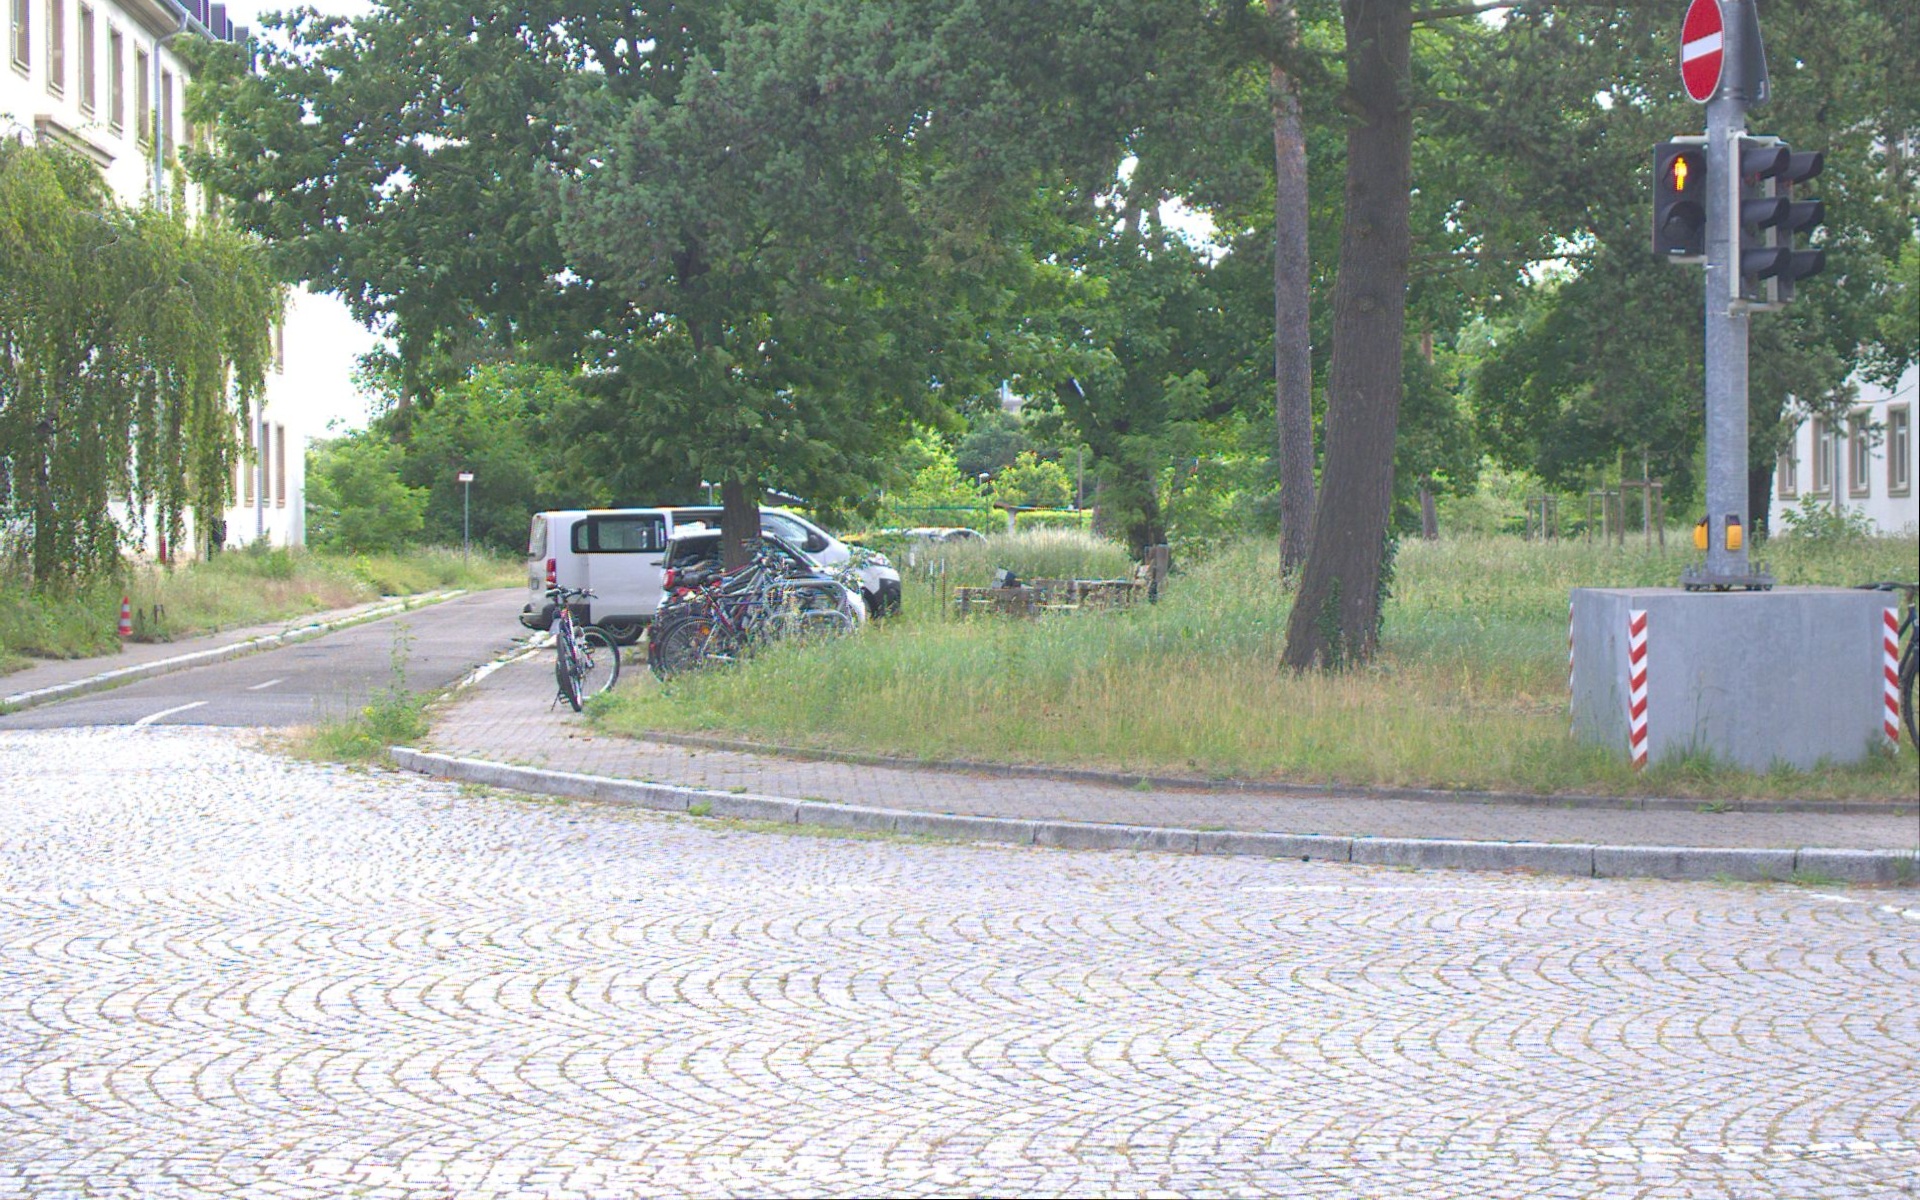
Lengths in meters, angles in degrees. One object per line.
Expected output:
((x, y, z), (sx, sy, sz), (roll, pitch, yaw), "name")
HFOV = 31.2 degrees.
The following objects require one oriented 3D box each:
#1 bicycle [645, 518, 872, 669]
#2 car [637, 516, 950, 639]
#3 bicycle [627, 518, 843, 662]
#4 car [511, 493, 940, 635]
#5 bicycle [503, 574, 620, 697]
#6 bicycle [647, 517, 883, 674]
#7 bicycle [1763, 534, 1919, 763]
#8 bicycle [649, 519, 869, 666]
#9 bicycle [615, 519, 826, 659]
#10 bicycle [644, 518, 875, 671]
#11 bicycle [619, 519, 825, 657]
((-1.866, -0.069, 31.949), (2.069, 1.373, 0.620), (0, 1, -3), "bicycle")
((-2.218, -0.318, 45.174), (3.931, 1.539, 2.001), (-1, 1, -8), "car")
((-2.184, -0.103, 33.530), (2.069, 1.373, 0.620), (0, 1, -3), "bicycle")
((-3.323, -0.537, 48.488), (5.690, 1.904, 2.231), (-1, 1, -15), "car")
((-3.318, 0.280, 28.784), (0.618, 0.960, 2.076), (0, 1, 3), "bicycle")
((-1.737, -0.046, 30.658), (2.069, 1.373, 0.620), (0, 1, -3), "bicycle")
((5.109, 0.234, 18.724), (0.908, 1.173, 1.875), (0, 1, -4), "bicycle")
((-1.908, -0.082, 32.745), (2.069, 1.373, 0.620), (0, 1, -3), "bicycle")
((-2.382, -0.118, 34.259), (2.069, 1.373, 0.620), (0, 1, -3), "bicycle")
((-1.823, -0.059, 31.325), (2.069, 1.373, 0.620), (0, 1, -3), "bicycle")
((-2.415, -0.130, 35.005), (2.069, 1.373, 0.620), (0, 1, -3), "bicycle")
